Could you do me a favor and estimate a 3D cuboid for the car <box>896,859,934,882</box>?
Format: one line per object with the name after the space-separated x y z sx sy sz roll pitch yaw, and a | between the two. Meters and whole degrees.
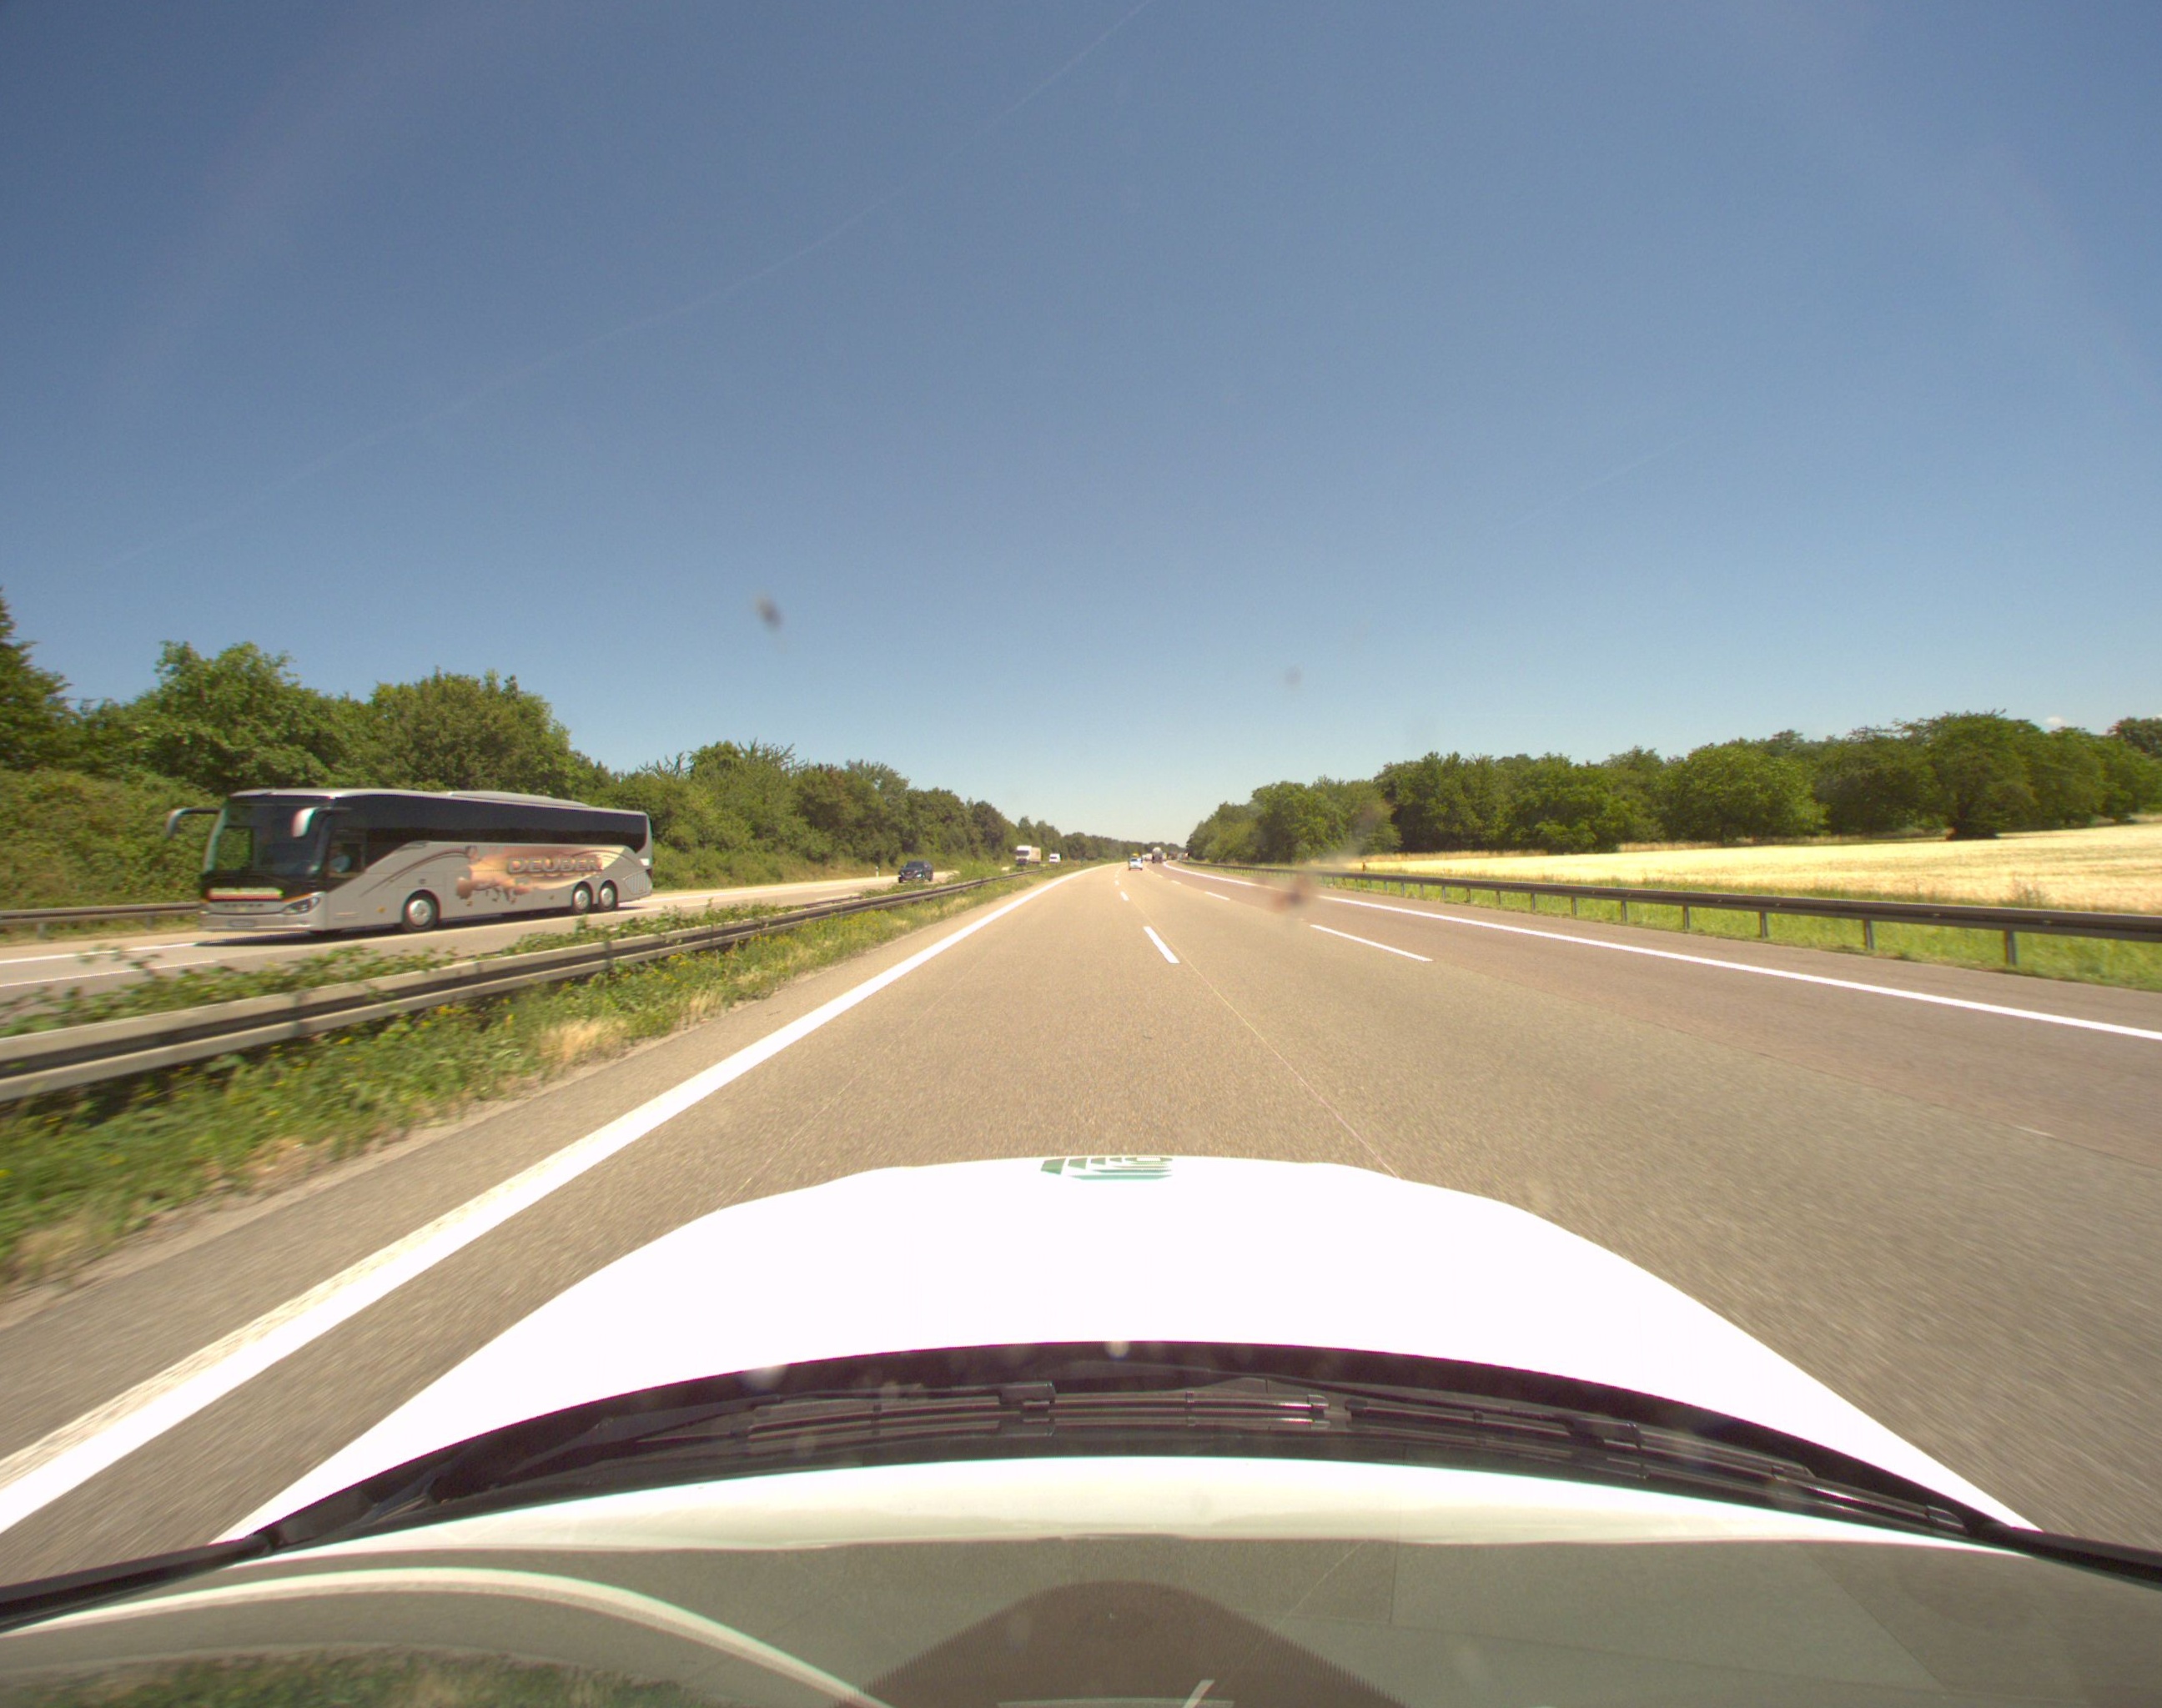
-12.346 1.219 60.811 1.819 1.632 4.560 -1 0 1 | car

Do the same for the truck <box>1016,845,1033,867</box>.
-10.589 0.401 152.836 2.691 3.965 4.447 -2 -1 3 | truck

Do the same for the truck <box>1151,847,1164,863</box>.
19.525 0.236 208.717 2.727 4.052 10.463 -1 -1 3 | truck

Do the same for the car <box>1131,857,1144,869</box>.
7.044 1.100 101.471 1.620 1.479 4.004 -1 -1 3 | car

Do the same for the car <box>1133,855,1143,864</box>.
14.332 1.344 204.871 1.982 2.013 4.009 -2 0 8 | car

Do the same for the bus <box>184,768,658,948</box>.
-17.105 0.122 23.452 2.731 3.708 13.004 0 0 2 | bus
